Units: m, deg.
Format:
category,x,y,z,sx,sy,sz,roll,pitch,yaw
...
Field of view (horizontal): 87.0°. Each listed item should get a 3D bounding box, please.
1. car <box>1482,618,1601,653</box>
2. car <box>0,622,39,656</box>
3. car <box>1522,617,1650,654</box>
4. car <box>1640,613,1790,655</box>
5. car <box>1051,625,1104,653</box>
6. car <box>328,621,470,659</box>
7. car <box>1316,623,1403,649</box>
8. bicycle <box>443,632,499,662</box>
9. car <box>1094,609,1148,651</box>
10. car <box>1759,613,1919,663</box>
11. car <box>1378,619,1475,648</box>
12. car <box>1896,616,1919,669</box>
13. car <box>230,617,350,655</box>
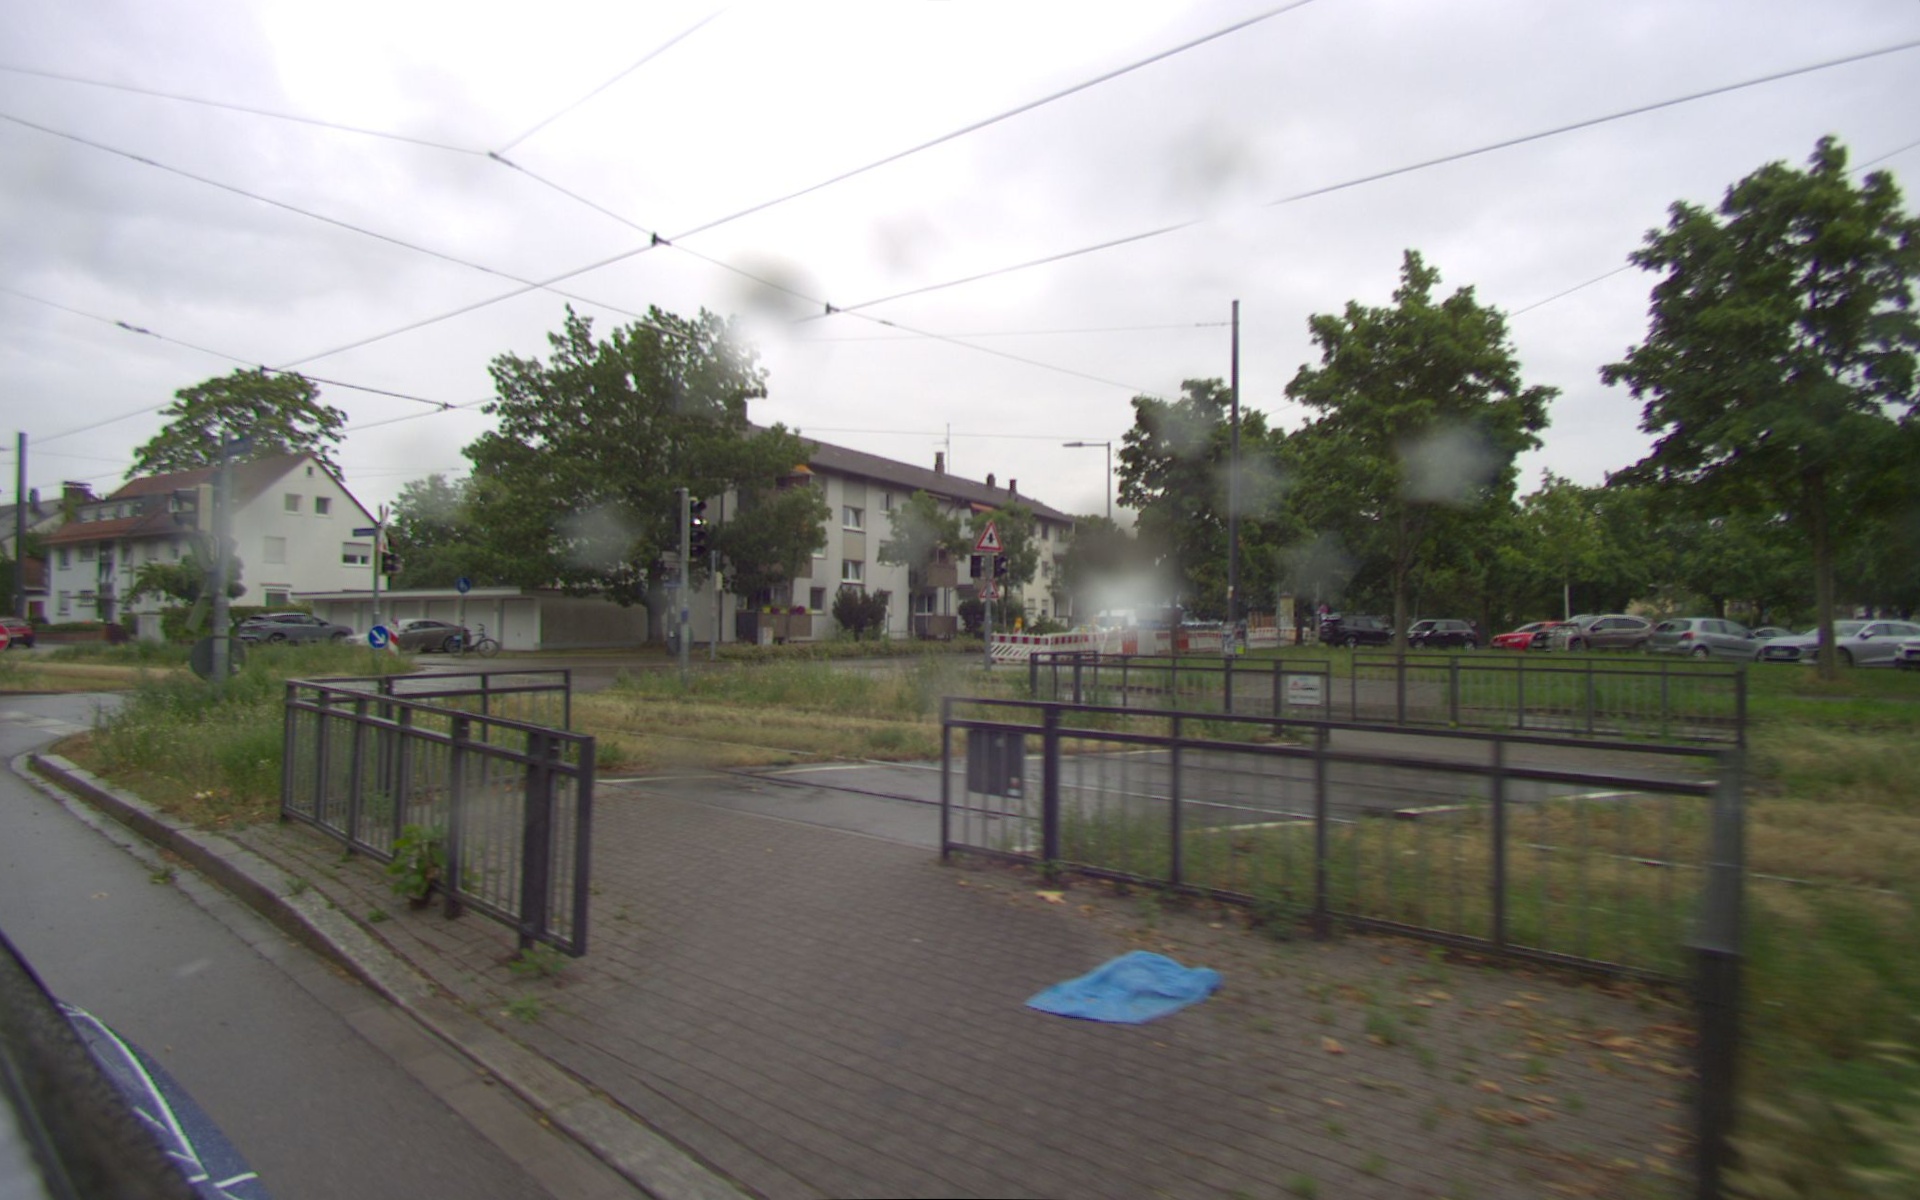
category,x,y,z,sx,sy,sz,roll,pitch,yaw
car,22.152,1.354,38.622,3.682,1.258,1.669,1,-2,-9
car,-47.324,1.922,49.809,3.957,1.558,1.829,-1,1,30
car,22.308,1.259,36.122,3.682,1.258,1.669,1,-2,-9
car,23.891,1.075,32.070,3.682,1.258,1.669,1,-2,-9
car,6.626,2.173,56.765,1.745,1.542,3.593,-1,-2,29
car,-22.188,1.550,40.218,1.841,1.376,4.690,-1,-1,31
car,20.021,1.795,50.742,3.682,1.258,1.669,1,-2,-9
bicycle,-17.672,1.706,36.590,1.818,1.027,0.481,-1,1,5
car,9.923,1.840,62.181,1.909,2.465,4.427,-1,-2,29
car,23.741,1.016,27.123,3.680,1.258,1.669,1,-2,-12
car,21.226,1.527,46.141,3.682,1.258,1.669,1,-2,-9
car,24.654,1.021,24.068,3.680,1.258,1.669,1,-2,-12
car,-29.297,1.579,44.350,1.884,1.588,3.962,-1,-2,28
